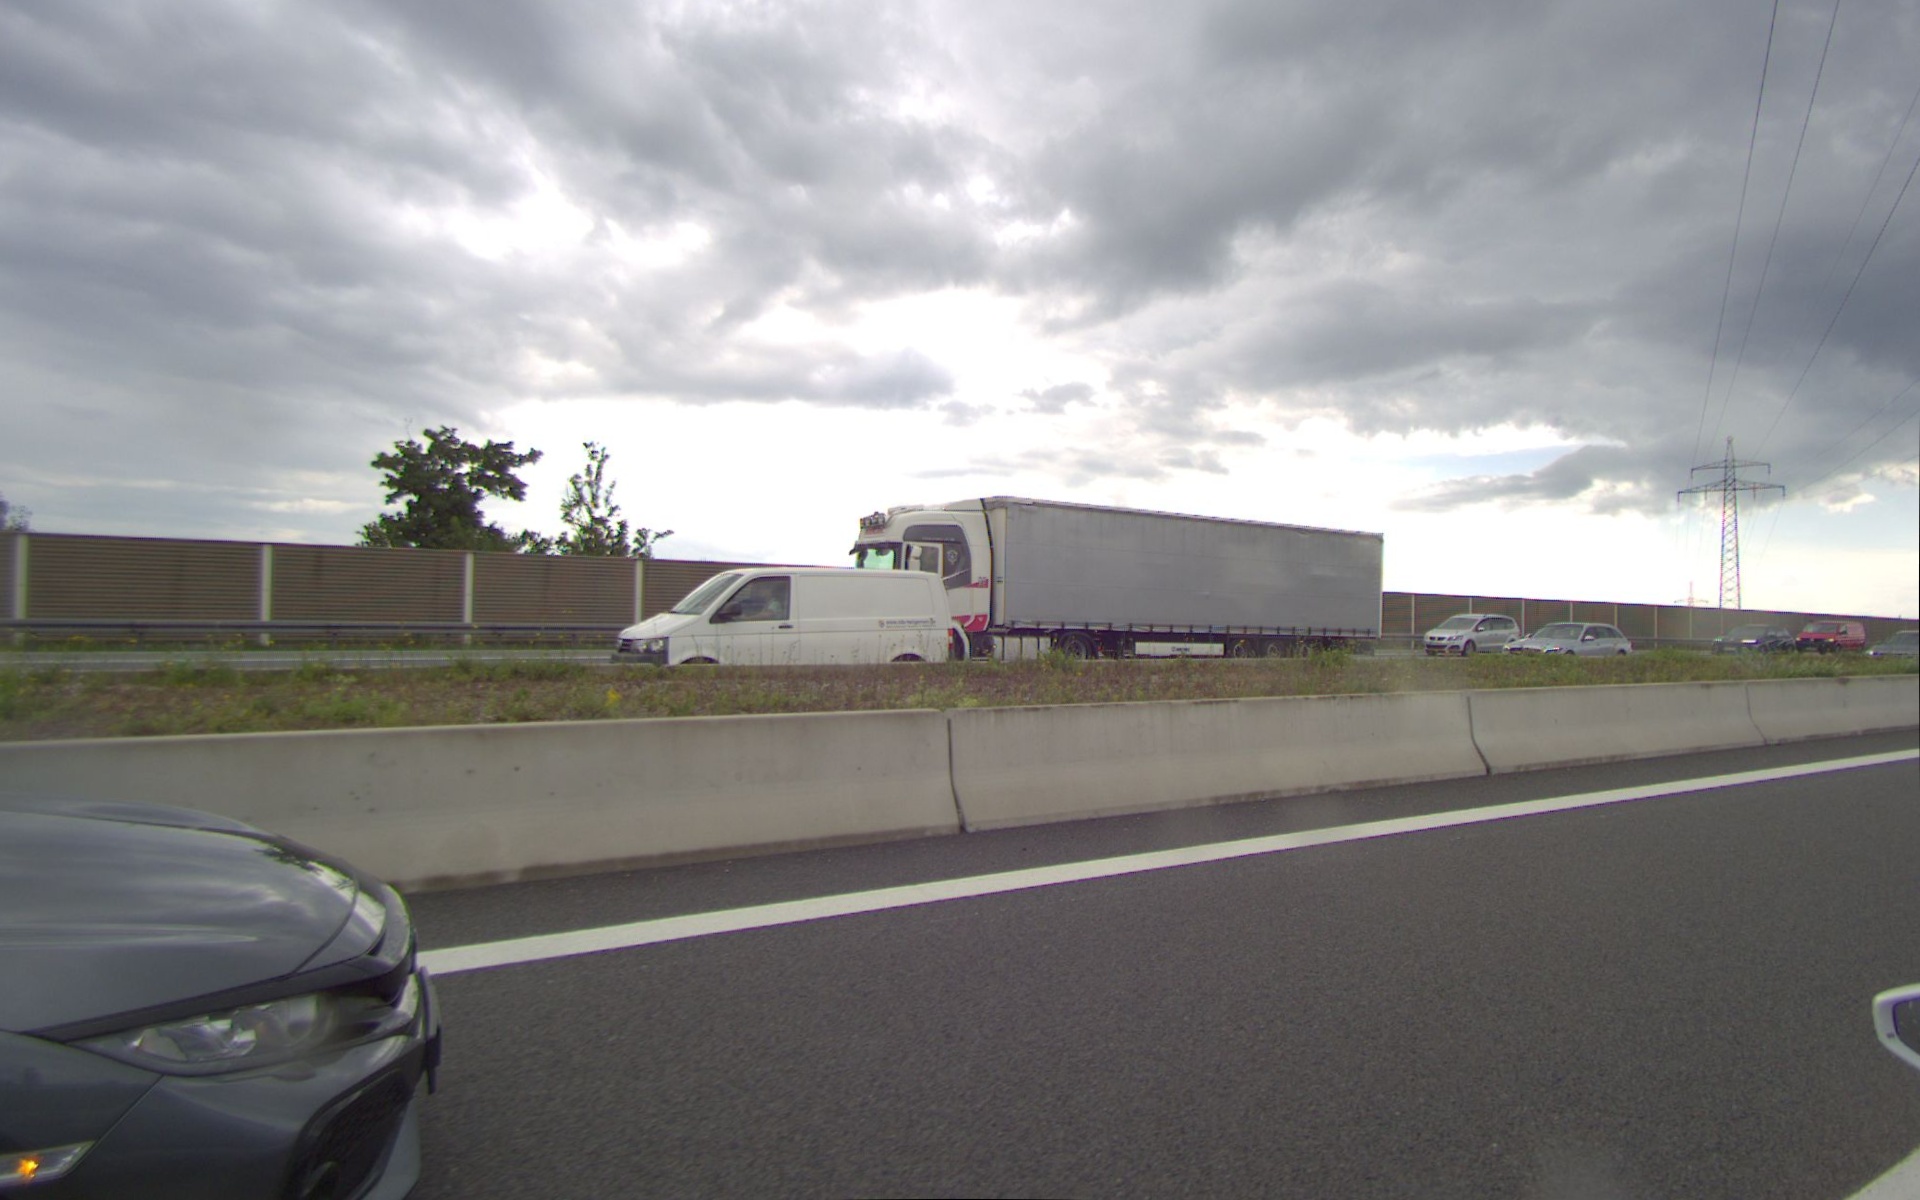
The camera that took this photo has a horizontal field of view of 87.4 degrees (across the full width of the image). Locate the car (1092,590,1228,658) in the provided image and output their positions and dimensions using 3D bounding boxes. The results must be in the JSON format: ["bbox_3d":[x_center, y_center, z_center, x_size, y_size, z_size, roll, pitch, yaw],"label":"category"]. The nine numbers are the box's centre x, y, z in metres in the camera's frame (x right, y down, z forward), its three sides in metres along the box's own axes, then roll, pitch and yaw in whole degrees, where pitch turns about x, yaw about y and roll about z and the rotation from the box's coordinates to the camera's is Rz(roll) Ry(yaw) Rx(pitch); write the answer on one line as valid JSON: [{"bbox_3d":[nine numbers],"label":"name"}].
[{"bbox_3d":[6.479,0.779,32.523,3.952,2.040,1.994,2,0,-29],"label":"car"}]

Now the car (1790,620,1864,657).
[{"bbox_3d":[49.686,2.223,57.572,4.887,1.993,1.756,2,0,-31],"label":"car"}]

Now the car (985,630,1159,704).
[{"bbox_3d":[3.846,2.216,34.019,5.732,2.223,2.105,2,0,-31],"label":"car"}]

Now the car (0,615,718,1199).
[{"bbox_3d":[-3.079,0.717,1.486,5.002,1.387,1.752,2,0,-31],"label":"car"}]

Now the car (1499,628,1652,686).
[{"bbox_3d":[18.534,1.675,30.172,5.102,1.557,1.756,2,0,-31],"label":"car"}]

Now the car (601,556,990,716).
[{"bbox_3d":[-2.239,0.490,14.259,5.102,1.925,1.913,2,0,-31],"label":"car"}]

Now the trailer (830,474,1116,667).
[{"bbox_3d":[0.322,-0.576,24.285,6.009,4.097,3.303,2,0,-31],"label":"trailer"}]

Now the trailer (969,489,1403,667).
[{"bbox_3d":[6.743,-0.353,28.142,13.134,4.115,3.302,2,0,-31],"label":"trailer"}]

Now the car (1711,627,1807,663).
[{"bbox_3d":[35.910,2.034,45.104,4.887,1.473,1.756,2,0,-31],"label":"car"}]

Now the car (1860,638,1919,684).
[{"bbox_3d":[33.604,2.118,35.147,5.027,1.473,1.756,2,0,-31],"label":"car"}]

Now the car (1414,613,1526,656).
[{"bbox_3d":[20.946,1.419,41.210,4.887,1.632,1.756,2,0,-31],"label":"car"}]
